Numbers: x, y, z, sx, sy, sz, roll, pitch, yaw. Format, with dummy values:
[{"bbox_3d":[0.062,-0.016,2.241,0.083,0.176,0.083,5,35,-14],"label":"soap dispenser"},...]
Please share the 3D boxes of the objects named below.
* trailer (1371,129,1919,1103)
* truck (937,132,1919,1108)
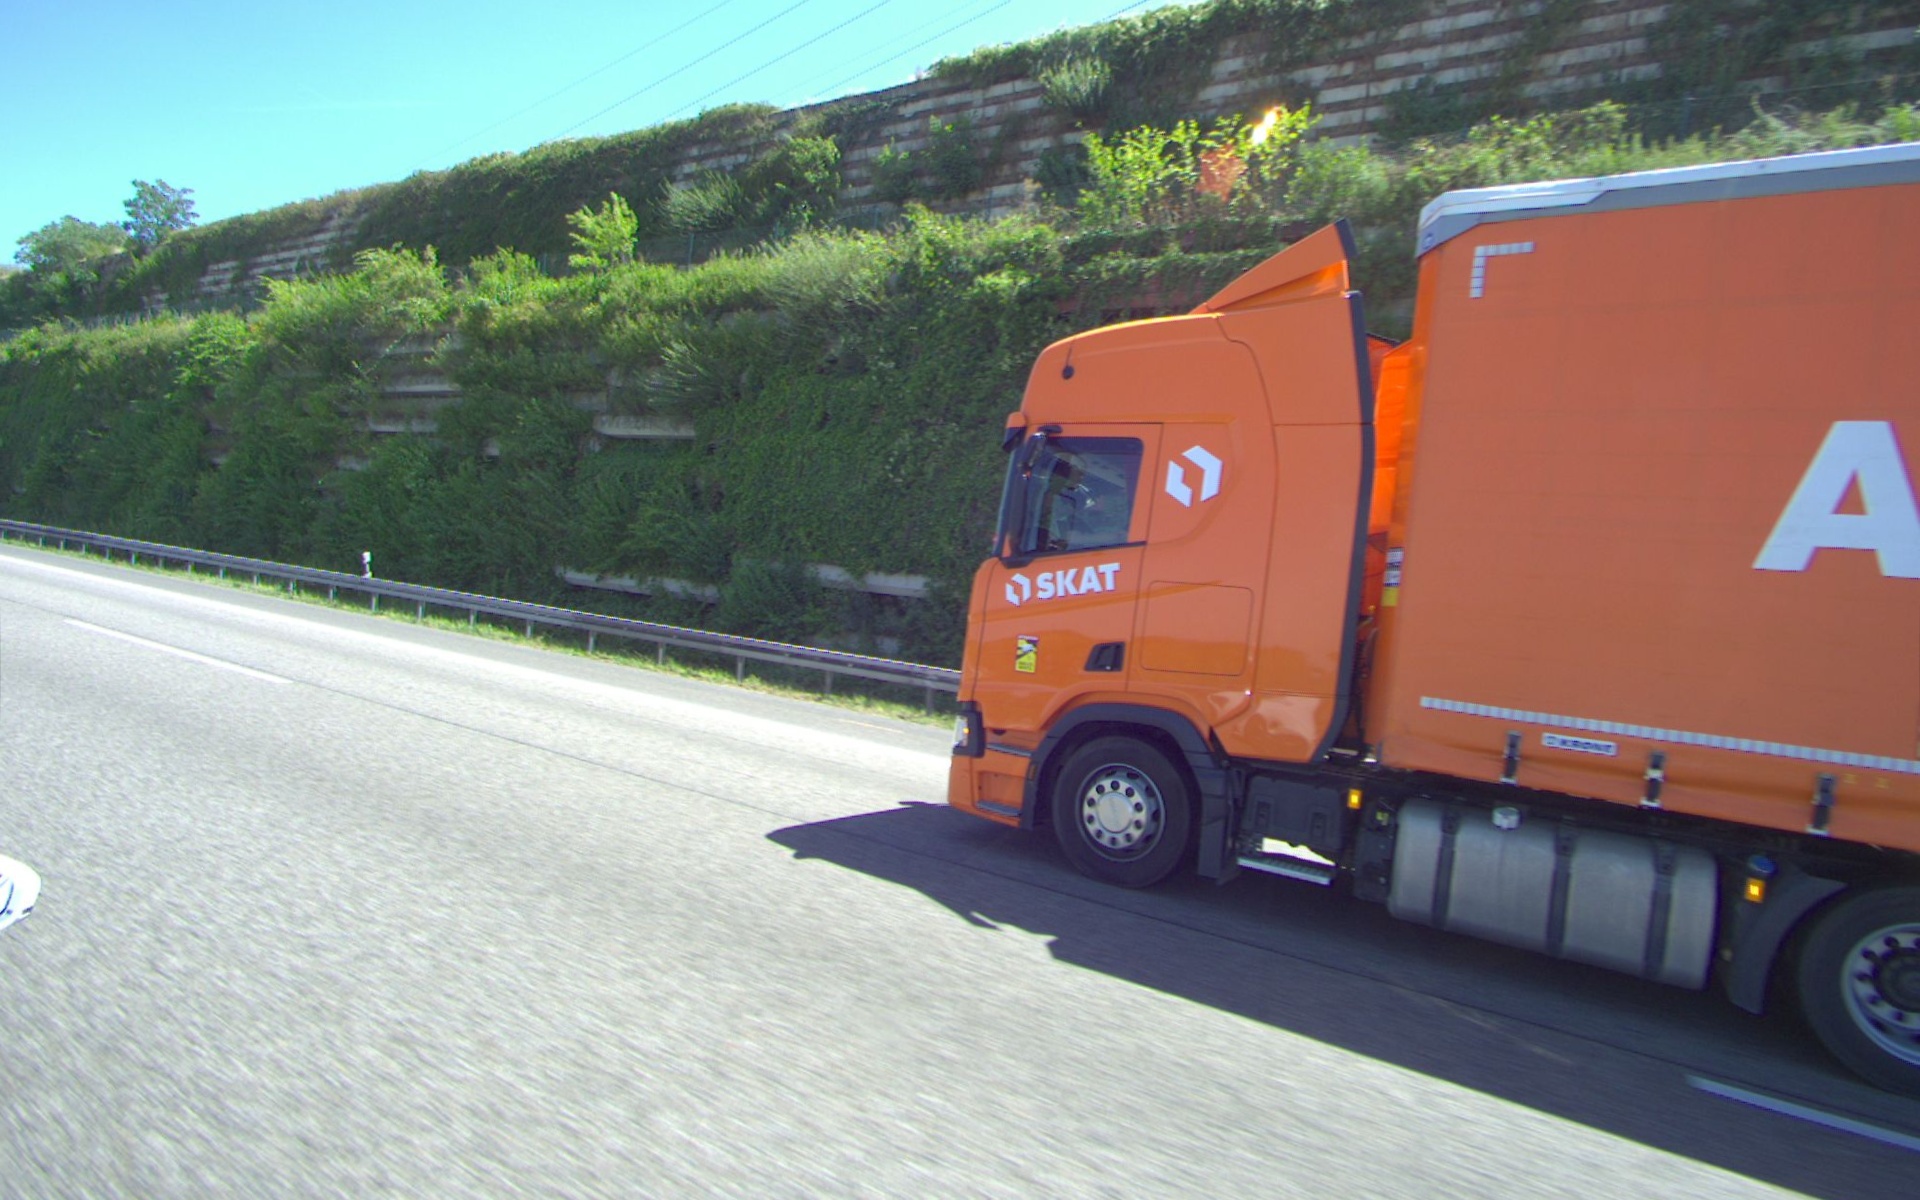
[{"bbox_3d":[8.695,0.595,2.817,13.380,4.053,2.649,7,-1,32],"label":"trailer"},{"bbox_3d":[3.455,0.011,6.051,6.418,4.041,2.621,7,0,32],"label":"truck"}]
